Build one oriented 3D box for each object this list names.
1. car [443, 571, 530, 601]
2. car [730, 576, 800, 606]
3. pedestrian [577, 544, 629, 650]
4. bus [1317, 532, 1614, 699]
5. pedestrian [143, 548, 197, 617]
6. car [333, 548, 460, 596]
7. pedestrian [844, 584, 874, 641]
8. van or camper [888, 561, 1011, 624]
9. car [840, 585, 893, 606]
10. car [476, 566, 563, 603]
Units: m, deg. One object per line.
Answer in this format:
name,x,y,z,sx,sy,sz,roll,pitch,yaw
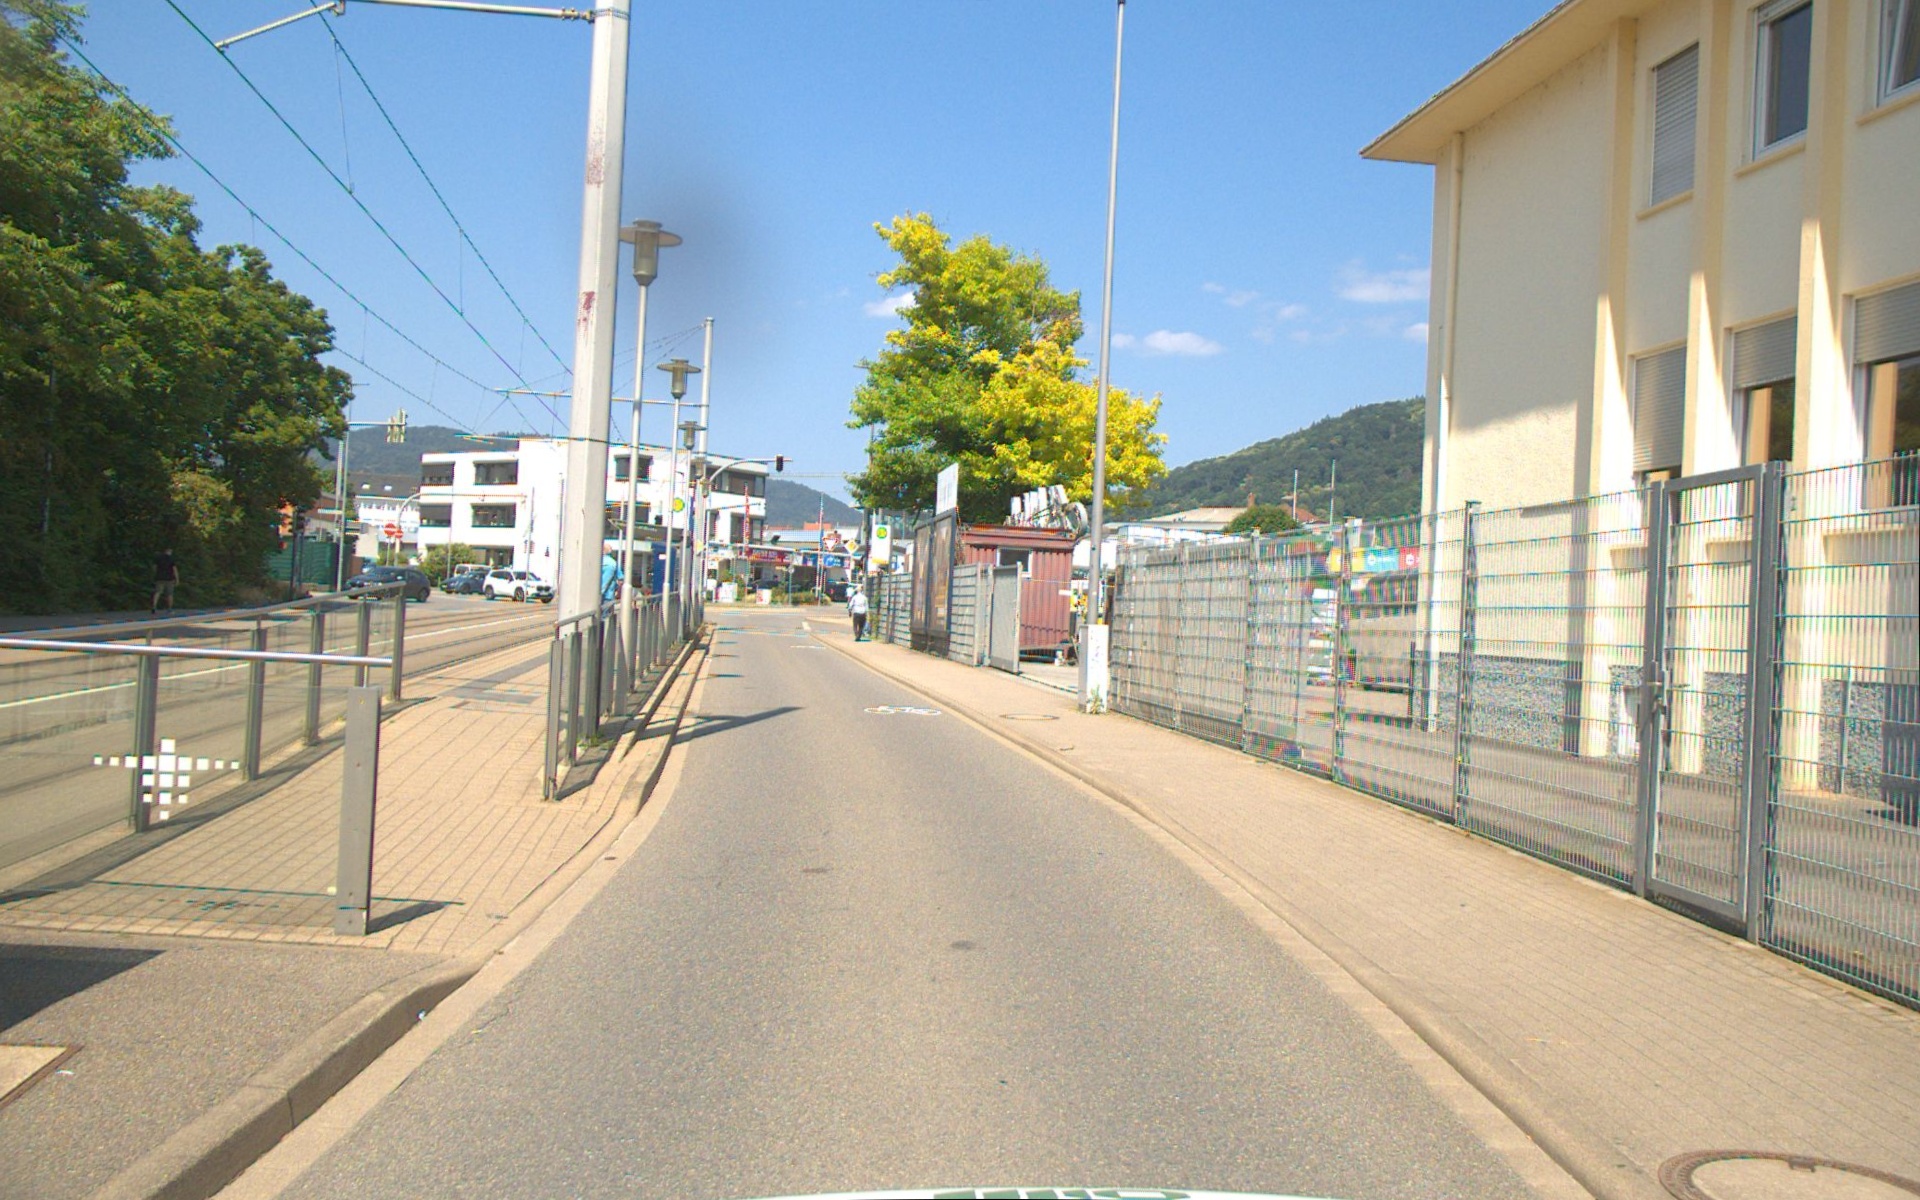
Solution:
car,-29.148,-0.858,101.999,1.921,1.694,4.881,2,0,42
car,-14.318,-0.666,121.575,1.929,2.000,5.254,2,0,39
pedestrian,-6.135,-0.053,28.459,0.710,1.754,0.943,3,0,-8
bus,11.201,0.459,38.059,2.517,3.227,10.251,2,-2,-7
pedestrian,-19.970,-0.441,41.838,0.869,1.699,1.158,2,0,-9
car,-24.204,-1.193,71.205,2.060,1.870,4.890,2,0,37
pedestrian,-3.129,0.378,51.316,0.798,1.729,0.885,2,0,-10
van or camper,-0.546,-0.368,79.871,5.698,2.822,2.089,2,1,-6
car,-7.886,-0.337,139.753,1.848,1.616,4.911,0,-1,35
car,-22.810,-0.802,85.548,4.473,1.763,1.992,2,0,36
